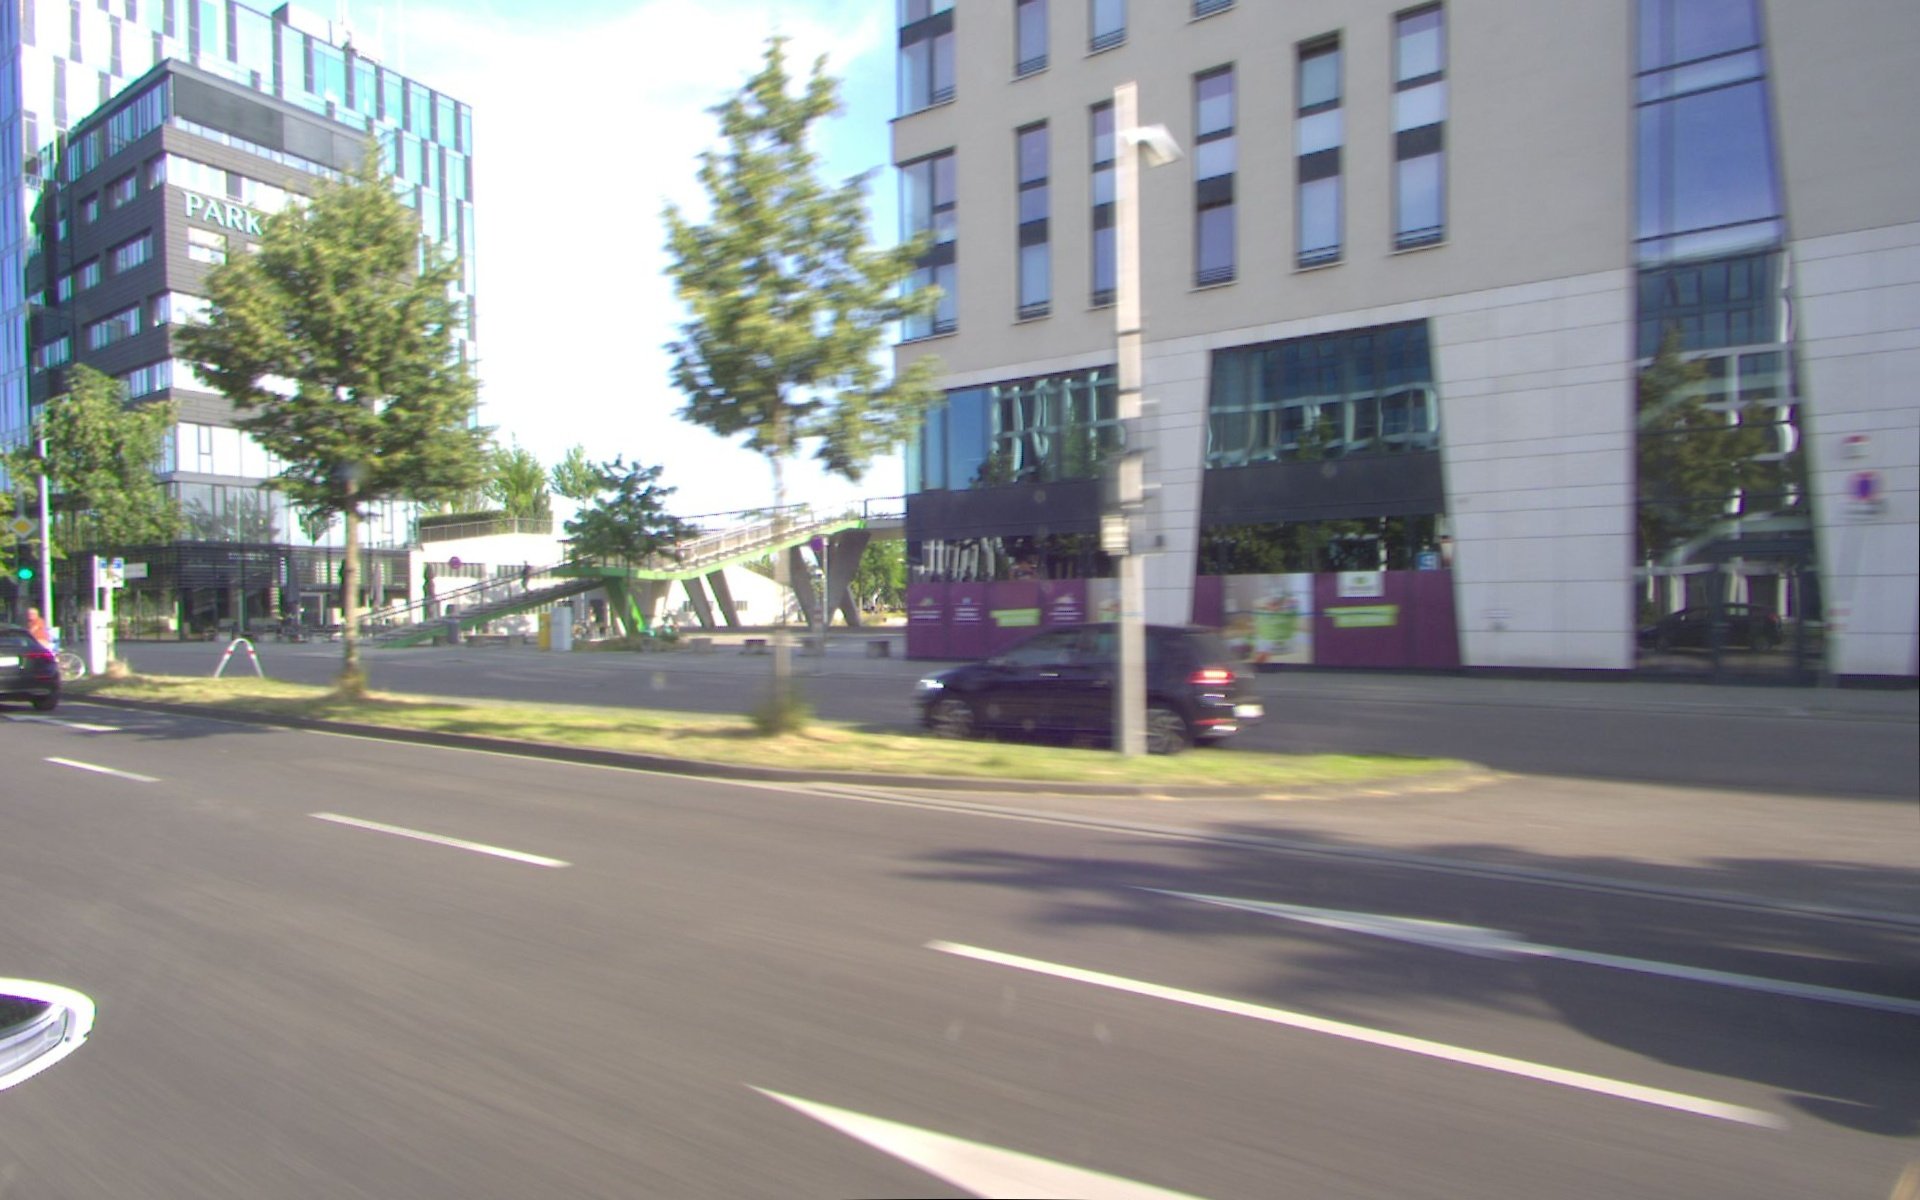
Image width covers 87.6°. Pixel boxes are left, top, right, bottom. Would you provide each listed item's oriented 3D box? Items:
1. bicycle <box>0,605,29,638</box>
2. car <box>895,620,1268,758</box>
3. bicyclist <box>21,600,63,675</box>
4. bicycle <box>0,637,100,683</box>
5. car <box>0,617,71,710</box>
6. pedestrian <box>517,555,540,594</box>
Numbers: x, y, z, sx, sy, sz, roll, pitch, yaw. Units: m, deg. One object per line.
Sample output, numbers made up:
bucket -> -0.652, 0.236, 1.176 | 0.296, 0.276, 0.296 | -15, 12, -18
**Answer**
bicycle -> -55.646, 1.238, 57.934 | 0.563, 1.881, 2.552 | -1, -2, 41
car -> 1.363, 0.955, 11.837 | 4.097, 1.388, 1.605 | -1, -2, 31
bicyclist -> -21.696, 0.889, 23.662 | 0.533, 1.728, 0.574 | -1, -1, 30
bicycle -> -21.747, 1.397, 23.623 | 0.563, 1.025, 2.133 | -1, -2, 28
car -> -16.636, 1.022, 16.664 | 3.905, 1.442, 1.771 | -1, -2, 33
pedestrian -> -19.544, -1.129, 45.338 | 0.689, 1.713, 0.779 | 1, -2, -45
